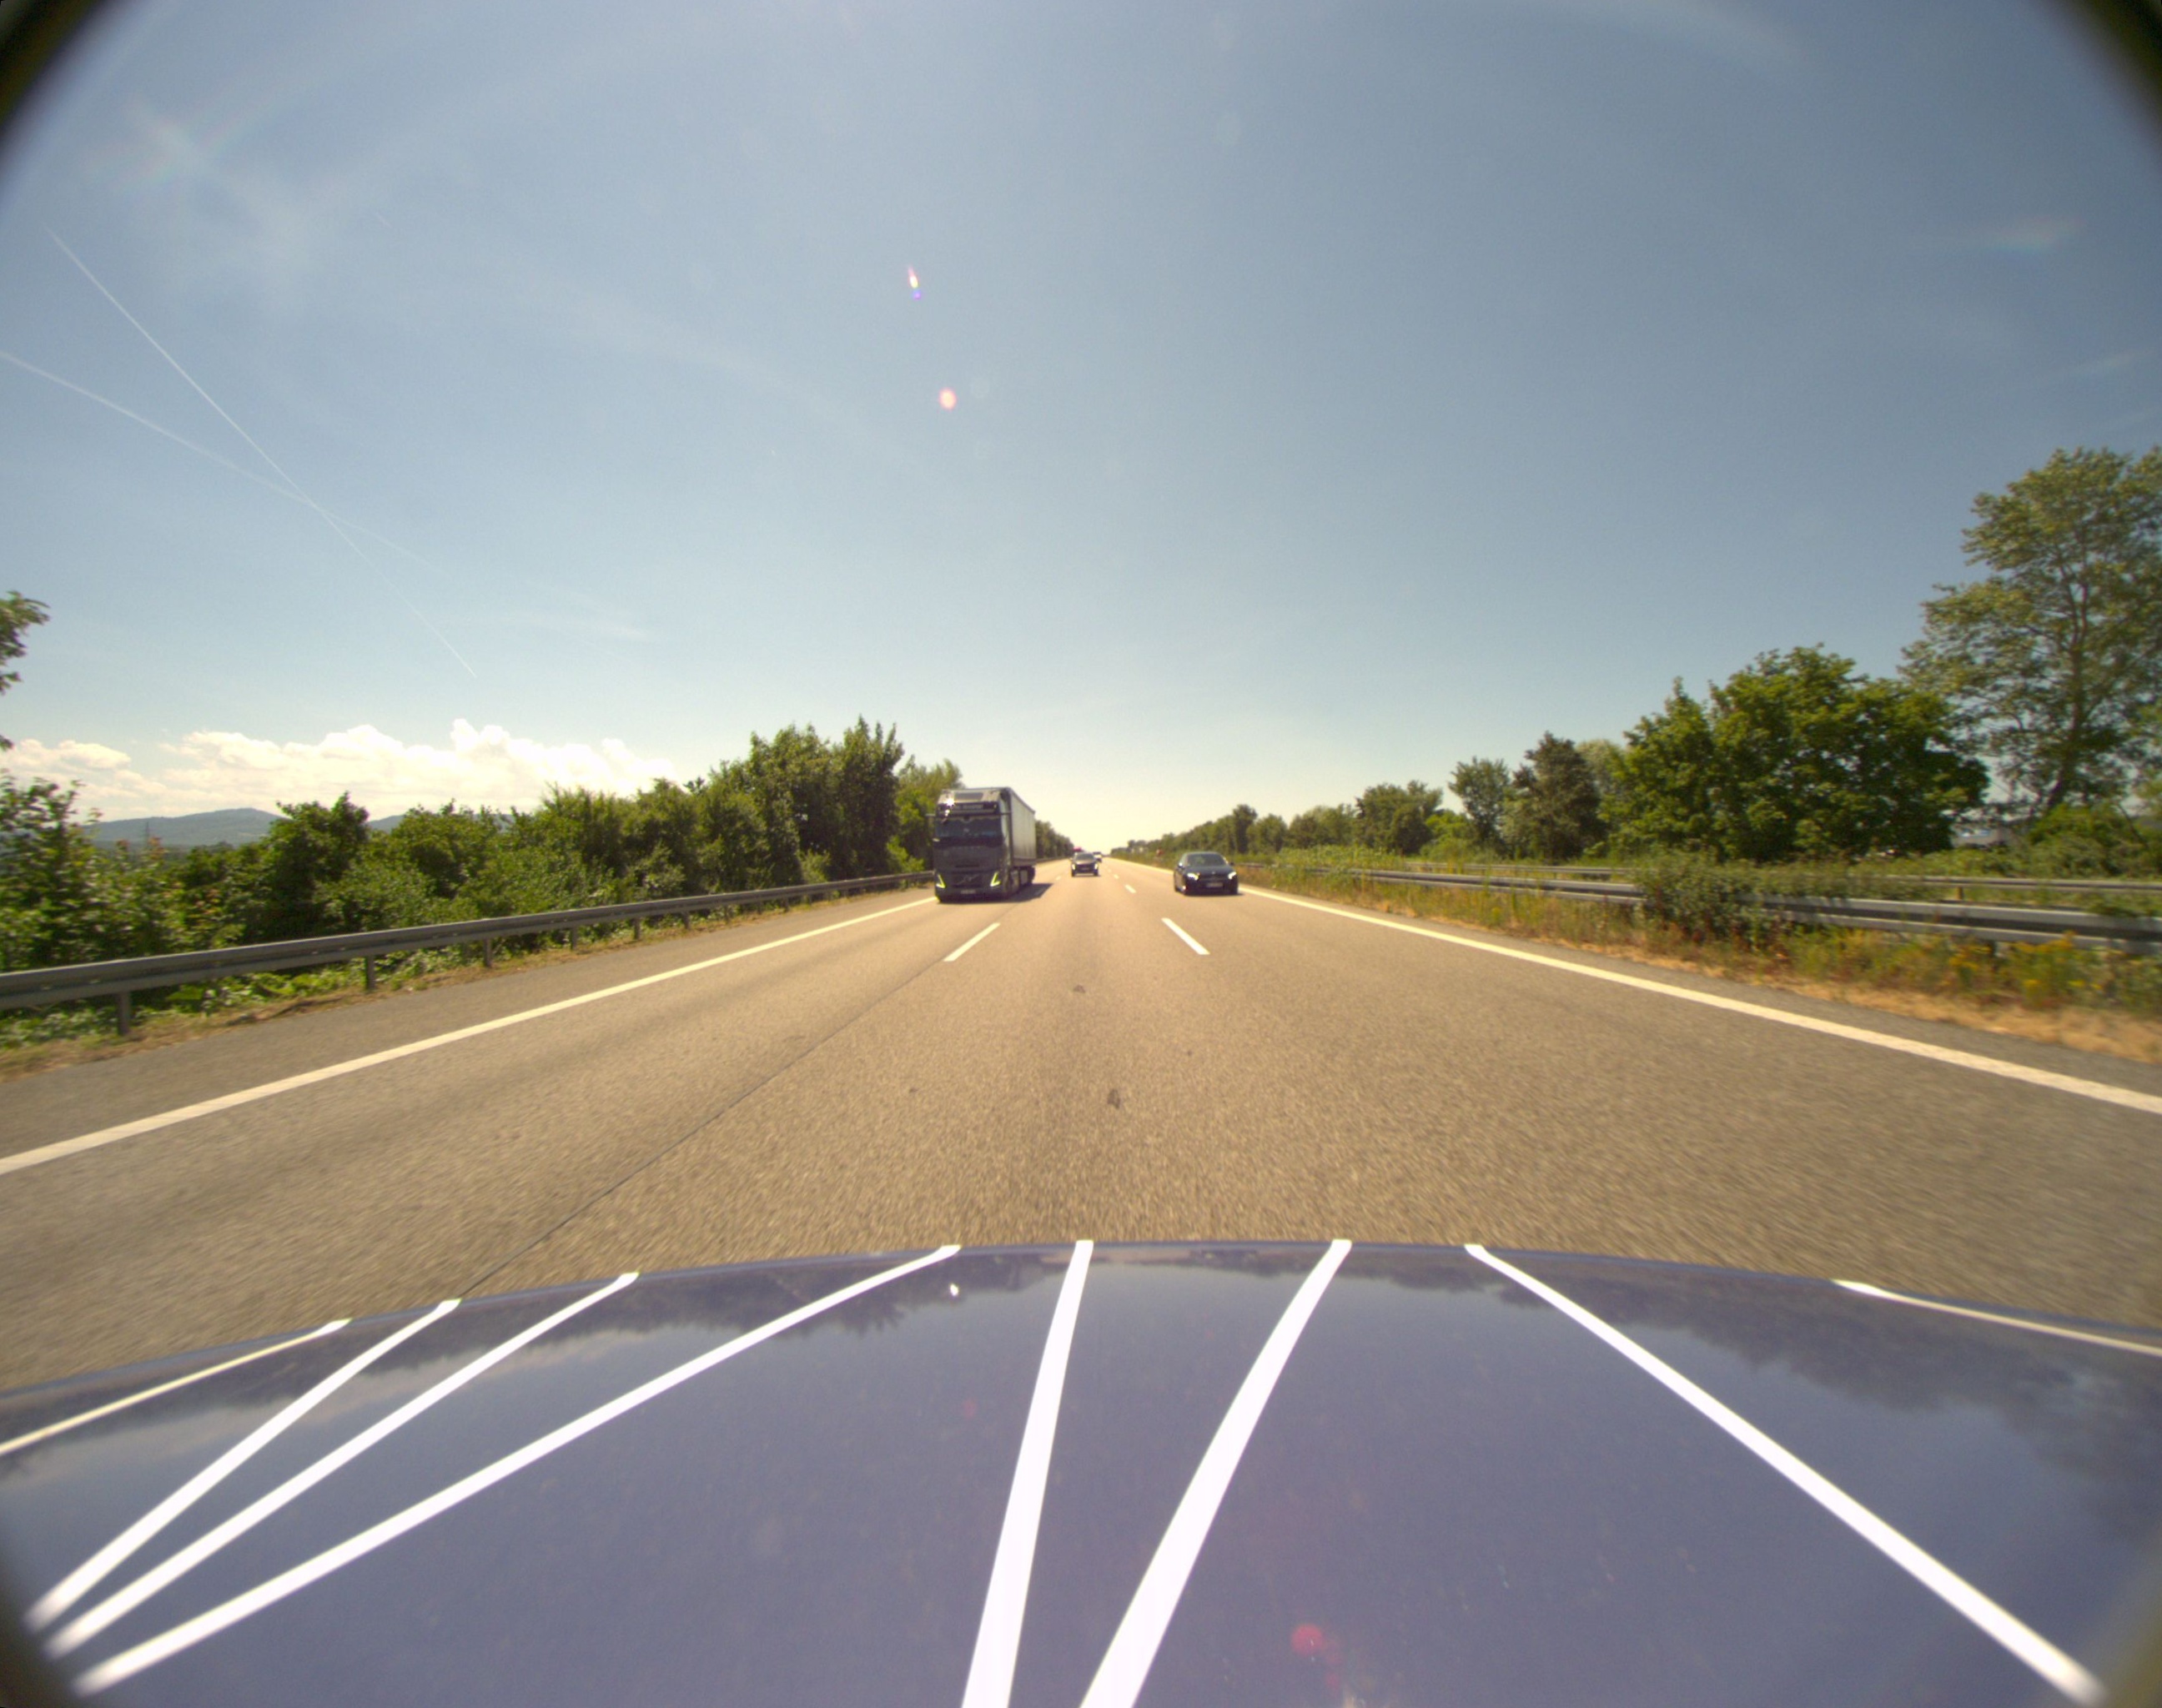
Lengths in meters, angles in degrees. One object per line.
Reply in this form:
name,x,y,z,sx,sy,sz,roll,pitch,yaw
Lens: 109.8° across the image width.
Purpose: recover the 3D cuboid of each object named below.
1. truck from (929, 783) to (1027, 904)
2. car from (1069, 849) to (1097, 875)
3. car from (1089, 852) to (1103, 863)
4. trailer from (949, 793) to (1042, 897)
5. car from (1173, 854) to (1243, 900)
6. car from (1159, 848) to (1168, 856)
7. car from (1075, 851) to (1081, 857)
truck,-3.654,-0.350,28.463,2.559,3.931,6.513,-2,0,1
car,0.151,0.512,51.500,1.796,1.696,4.000,-2,0,1
car,2.385,0.548,122.298,2.147,1.810,5.267,-2,0,1
trailer,-3.635,-0.381,35.940,2.559,3.931,13.538,-2,0,1
car,4.314,0.735,26.421,1.796,1.403,4.052,-2,0,1
car,25.435,-0.696,234.479,2.187,2.423,4.954,-1,0,-2
car,-1.063,0.082,254.869,1.998,2.002,4.000,-2,0,1
